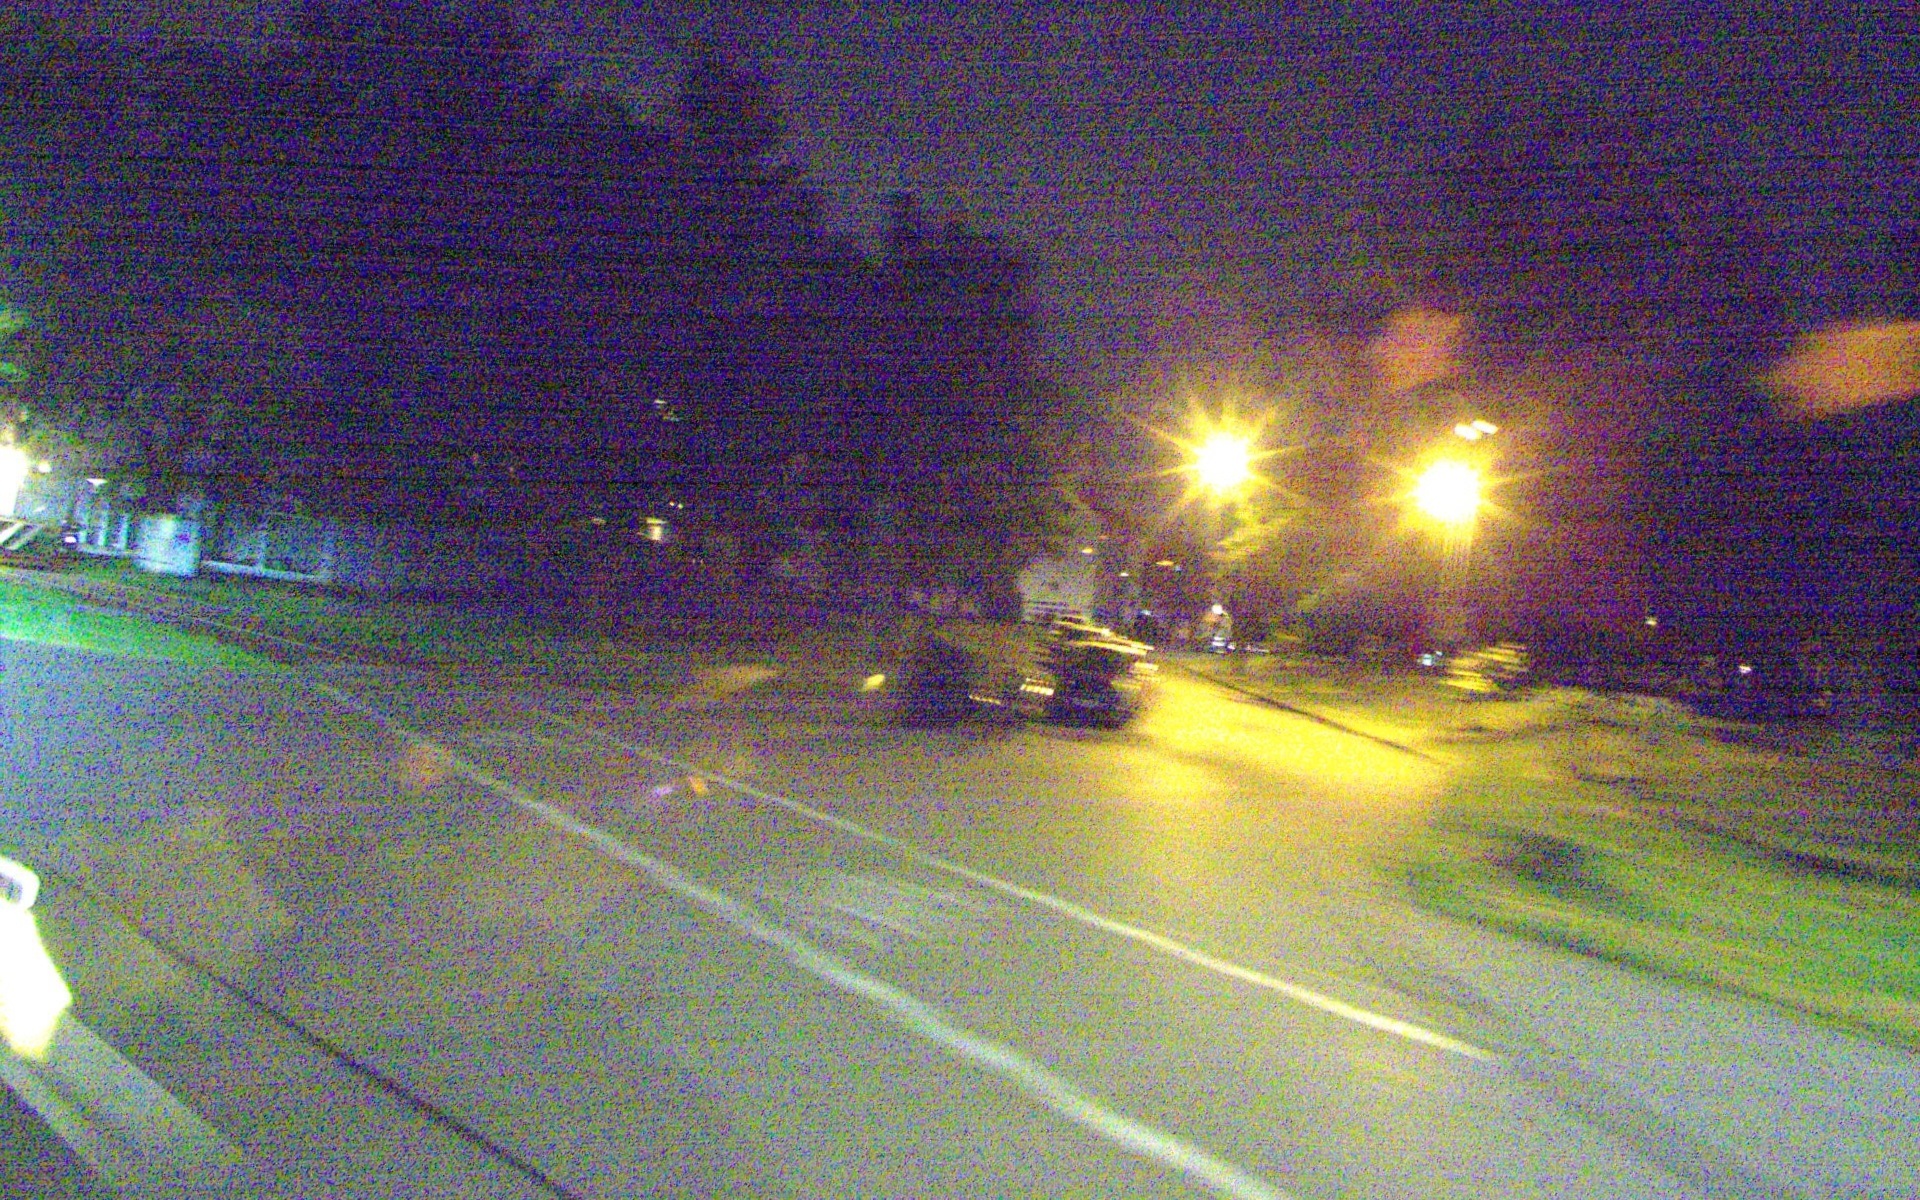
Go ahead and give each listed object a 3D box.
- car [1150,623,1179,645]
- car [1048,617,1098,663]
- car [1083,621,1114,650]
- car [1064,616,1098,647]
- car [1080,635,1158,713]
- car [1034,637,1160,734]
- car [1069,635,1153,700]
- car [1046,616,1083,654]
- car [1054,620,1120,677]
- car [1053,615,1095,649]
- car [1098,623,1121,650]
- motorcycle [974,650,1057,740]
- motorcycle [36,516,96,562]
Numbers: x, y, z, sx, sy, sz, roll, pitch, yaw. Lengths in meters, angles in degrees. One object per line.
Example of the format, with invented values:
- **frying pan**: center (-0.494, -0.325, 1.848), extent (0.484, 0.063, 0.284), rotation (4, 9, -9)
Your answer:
- **car**: center (18.906, 3.190, 92.926), extent (1.513, 1.691, 2.870), rotation (7, -1, 35)
- **car**: center (4.775, 1.663, 42.958), extent (1.637, 1.691, 3.543), rotation (7, -1, 2)
- **car**: center (9.347, 2.427, 67.863), extent (1.434, 1.691, 3.474), rotation (7, -1, 16)
- **car**: center (7.561, 1.966, 62.478), extent (1.546, 1.691, 4.100), rotation (7, -1, 13)
- **car**: center (4.019, 1.779, 25.137), extent (1.582, 1.566, 4.035), rotation (7, -1, 11)
- **car**: center (2.811, 1.628, 19.956), extent (1.829, 1.497, 3.634), rotation (7, -1, 16)
- **car**: center (4.391, 1.931, 29.897), extent (1.730, 1.492, 4.712), rotation (7, -1, 2)
- **car**: center (5.315, 1.765, 51.390), extent (1.636, 1.691, 3.431), rotation (7, -1, 6)
- **car**: center (4.431, 1.645, 35.588), extent (1.730, 1.691, 4.330), rotation (7, -1, 2)
- **car**: center (6.642, 1.877, 58.248), extent (1.804, 1.691, 4.416), rotation (7, -1, 13)
- **car**: center (10.689, 2.605, 71.824), extent (1.374, 1.691, 2.926), rotation (7, -1, 8)
- **motorcycle**: center (0.922, 1.450, 15.916), extent (0.698, 1.229, 2.267), rotation (7, -1, 16)
- **motorcycle**: center (-30.427, -2.072, 34.277), extent (1.064, 1.342, 2.682), rotation (9, -2, -34)
